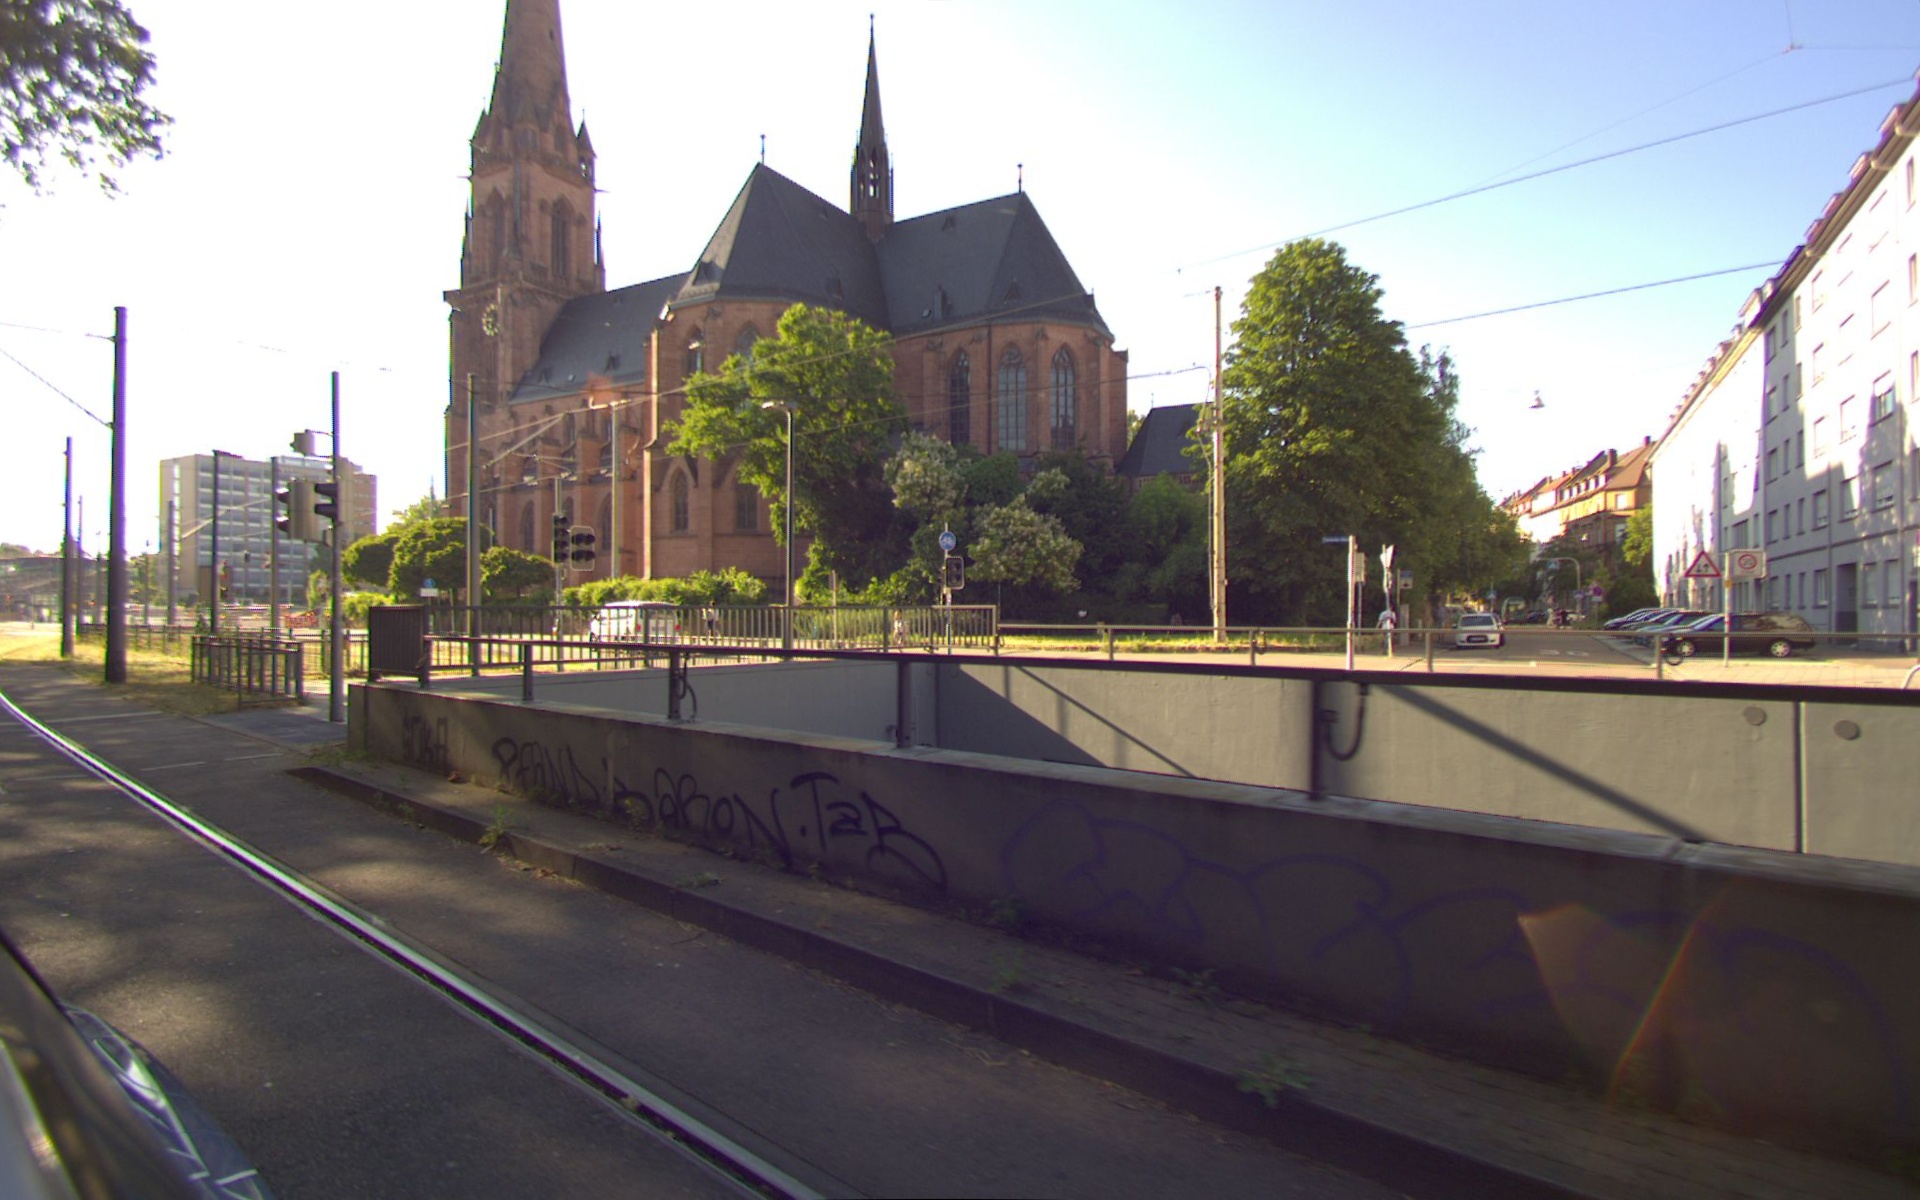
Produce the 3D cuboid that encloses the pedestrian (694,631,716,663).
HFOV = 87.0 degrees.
[{"bbox_3d":[-12.093,2.237,47.983,0.946,1.500,0.580,-2,-2,39],"label":"pedestrian"}]

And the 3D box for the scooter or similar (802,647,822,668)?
[{"bbox_3d":[-6.847,2.648,46.805,0.914,0.943,0.306,-2,-1,21],"label":"scooter or similar"}]

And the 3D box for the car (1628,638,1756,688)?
[{"bbox_3d":[29.845,2.550,41.426,3.984,1.874,1.980,-2,-1,30],"label":"car"}]

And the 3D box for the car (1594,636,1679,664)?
[{"bbox_3d":[39.886,2.952,59.817,3.984,1.564,1.980,-2,-1,30],"label":"car"}]

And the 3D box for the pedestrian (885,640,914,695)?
[{"bbox_3d":[-1.908,2.137,32.156,0.752,1.686,0.490,-2,-1,28],"label":"pedestrian"}]

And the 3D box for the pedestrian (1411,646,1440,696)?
[{"bbox_3d":[15.553,2.361,33.817,0.720,1.668,0.505,-2,-4,41],"label":"pedestrian"}]

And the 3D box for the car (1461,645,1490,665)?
[{"bbox_3d":[38.945,4.110,76.473,1.693,1.431,3.636,-2,-3,31],"label":"car"}]

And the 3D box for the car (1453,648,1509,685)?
[{"bbox_3d":[21.546,2.711,41.803,1.694,1.431,3.634,-2,-3,33],"label":"car"}]

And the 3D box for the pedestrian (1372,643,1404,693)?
[{"bbox_3d":[13.927,2.207,32.927,0.728,1.568,0.650,-2,-2,42],"label":"pedestrian"}]

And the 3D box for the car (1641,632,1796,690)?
[{"bbox_3d":[26.171,2.084,35.108,3.984,1.874,1.980,-2,-1,30],"label":"car"}]

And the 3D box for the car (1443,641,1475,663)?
[{"bbox_3d":[34.964,3.635,70.928,1.693,1.431,3.636,-2,-3,31],"label":"car"}]

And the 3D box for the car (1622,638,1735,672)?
[{"bbox_3d":[32.646,2.492,46.136,3.984,1.431,1.980,-2,-1,30],"label":"car"}]

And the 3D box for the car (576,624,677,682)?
[{"bbox_3d":[-13.004,2.043,39.280,1.968,2.029,5.021,5,-5,-39],"label":"car"}]

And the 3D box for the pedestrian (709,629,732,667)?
[{"bbox_3d":[-11.529,2.286,48.669,0.946,1.798,0.580,-2,-2,39],"label":"pedestrian"}]

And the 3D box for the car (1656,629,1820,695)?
[{"bbox_3d":[25.285,1.994,33.087,3.966,2.029,1.806,-2,-1,30],"label":"car"}]

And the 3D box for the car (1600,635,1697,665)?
[{"bbox_3d":[35.940,2.607,52.965,3.984,1.431,1.980,-2,-1,30],"label":"car"}]
